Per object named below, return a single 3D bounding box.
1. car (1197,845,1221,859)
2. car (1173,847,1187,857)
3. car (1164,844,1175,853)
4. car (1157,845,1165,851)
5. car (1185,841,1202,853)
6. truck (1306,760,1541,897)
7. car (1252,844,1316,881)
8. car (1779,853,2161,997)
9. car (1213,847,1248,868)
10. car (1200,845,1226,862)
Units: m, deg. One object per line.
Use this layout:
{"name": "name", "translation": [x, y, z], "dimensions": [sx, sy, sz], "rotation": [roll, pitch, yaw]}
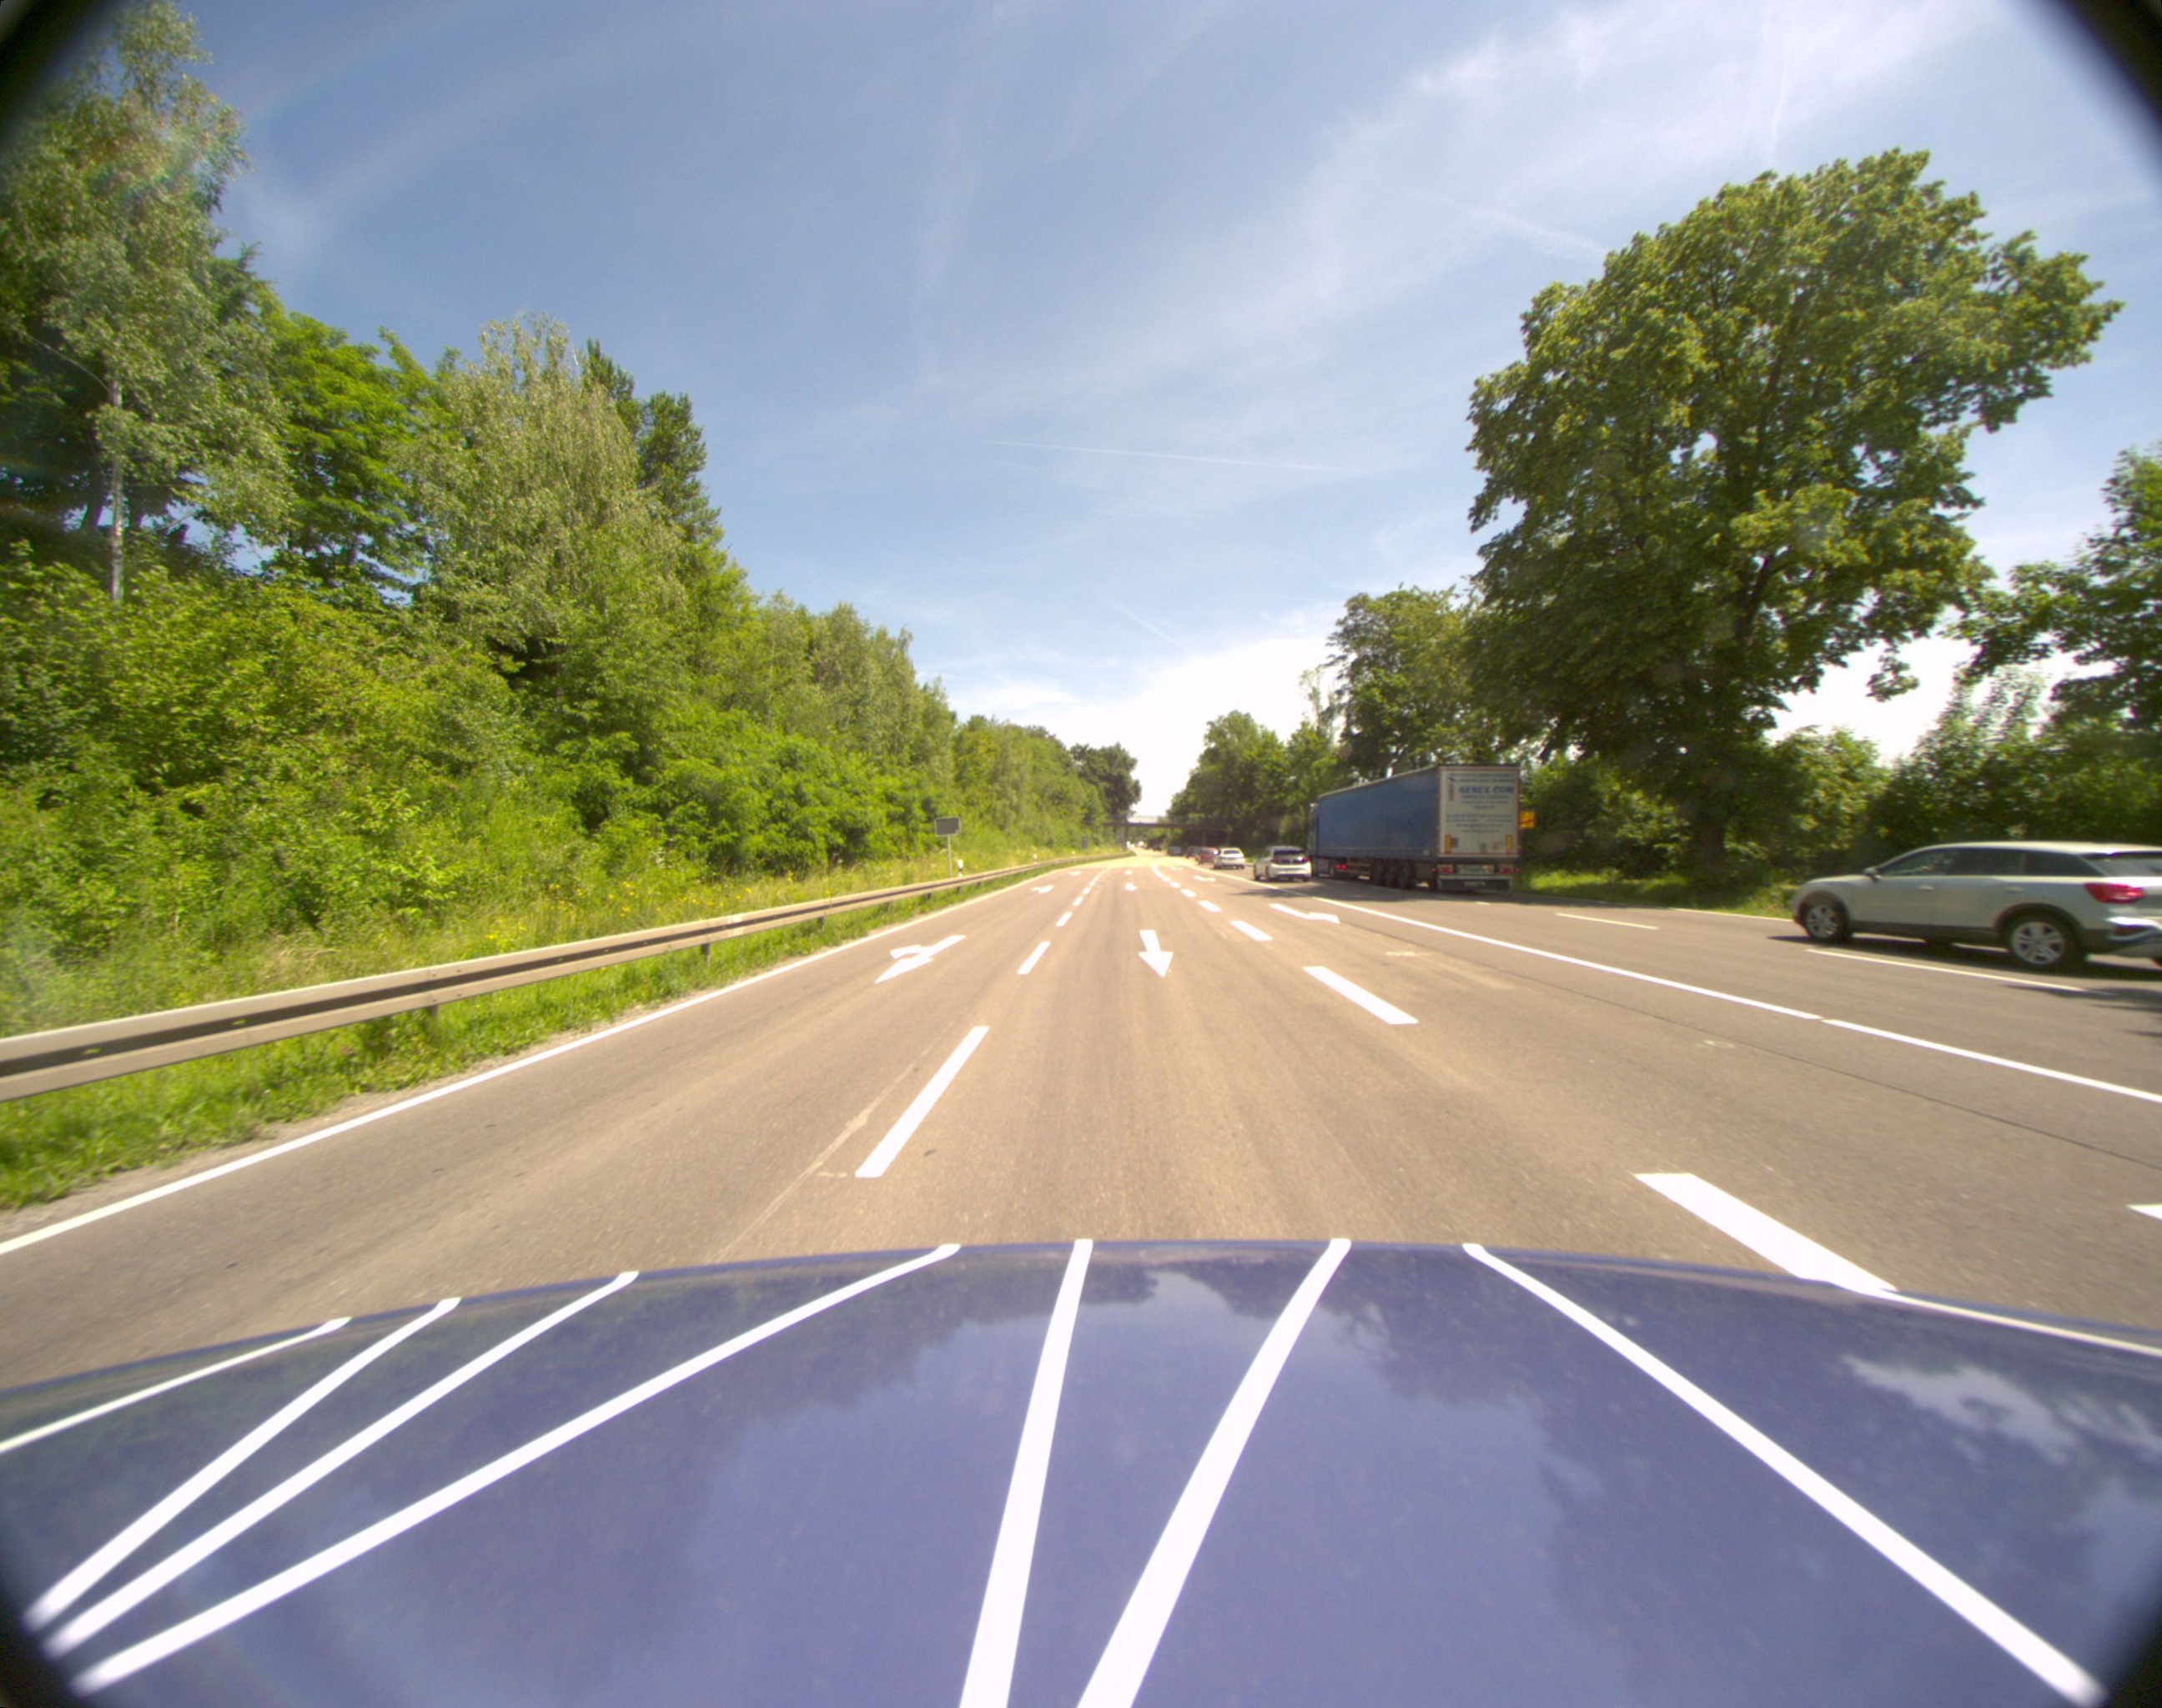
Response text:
{"name": "car", "translation": [13.493, -0.210, 80.275], "dimensions": [1.923, 1.472, 4.687], "rotation": [0, 0, 2]}
{"name": "car", "translation": [14.871, -0.371, 114.562], "dimensions": [1.771, 1.378, 4.000], "rotation": [-2, 2, 3]}
{"name": "car", "translation": [16.315, -1.013, 140.078], "dimensions": [1.771, 1.378, 4.000], "rotation": [-2, 2, 3]}
{"name": "car", "translation": [20.015, -1.519, 189.436], "dimensions": [1.907, 1.500, 3.766], "rotation": [0, 1, 7]}
{"name": "car", "translation": [14.253, -0.906, 96.520], "dimensions": [1.645, 1.430, 4.016], "rotation": [-2, 1, 1]}
{"name": "truck", "translation": [12.866, -0.882, 31.424], "dimensions": [2.975, 4.153, 16.574], "rotation": [0, 1, 3]}
{"name": "car", "translation": [8.788, 0.359, 33.171], "dimensions": [1.797, 1.513, 4.187], "rotation": [0, 0, 2]}
{"name": "car", "translation": [11.734, 0.718, 9.770], "dimensions": [1.765, 1.419, 4.180], "rotation": [0, 1, 2]}
{"name": "car", "translation": [10.437, 0.226, 53.392], "dimensions": [1.704, 1.407, 4.562], "rotation": [-1, 1, 2]}
{"name": "car", "translation": [11.451, -0.034, 66.240], "dimensions": [1.771, 1.437, 3.776], "rotation": [0, 1, 3]}
